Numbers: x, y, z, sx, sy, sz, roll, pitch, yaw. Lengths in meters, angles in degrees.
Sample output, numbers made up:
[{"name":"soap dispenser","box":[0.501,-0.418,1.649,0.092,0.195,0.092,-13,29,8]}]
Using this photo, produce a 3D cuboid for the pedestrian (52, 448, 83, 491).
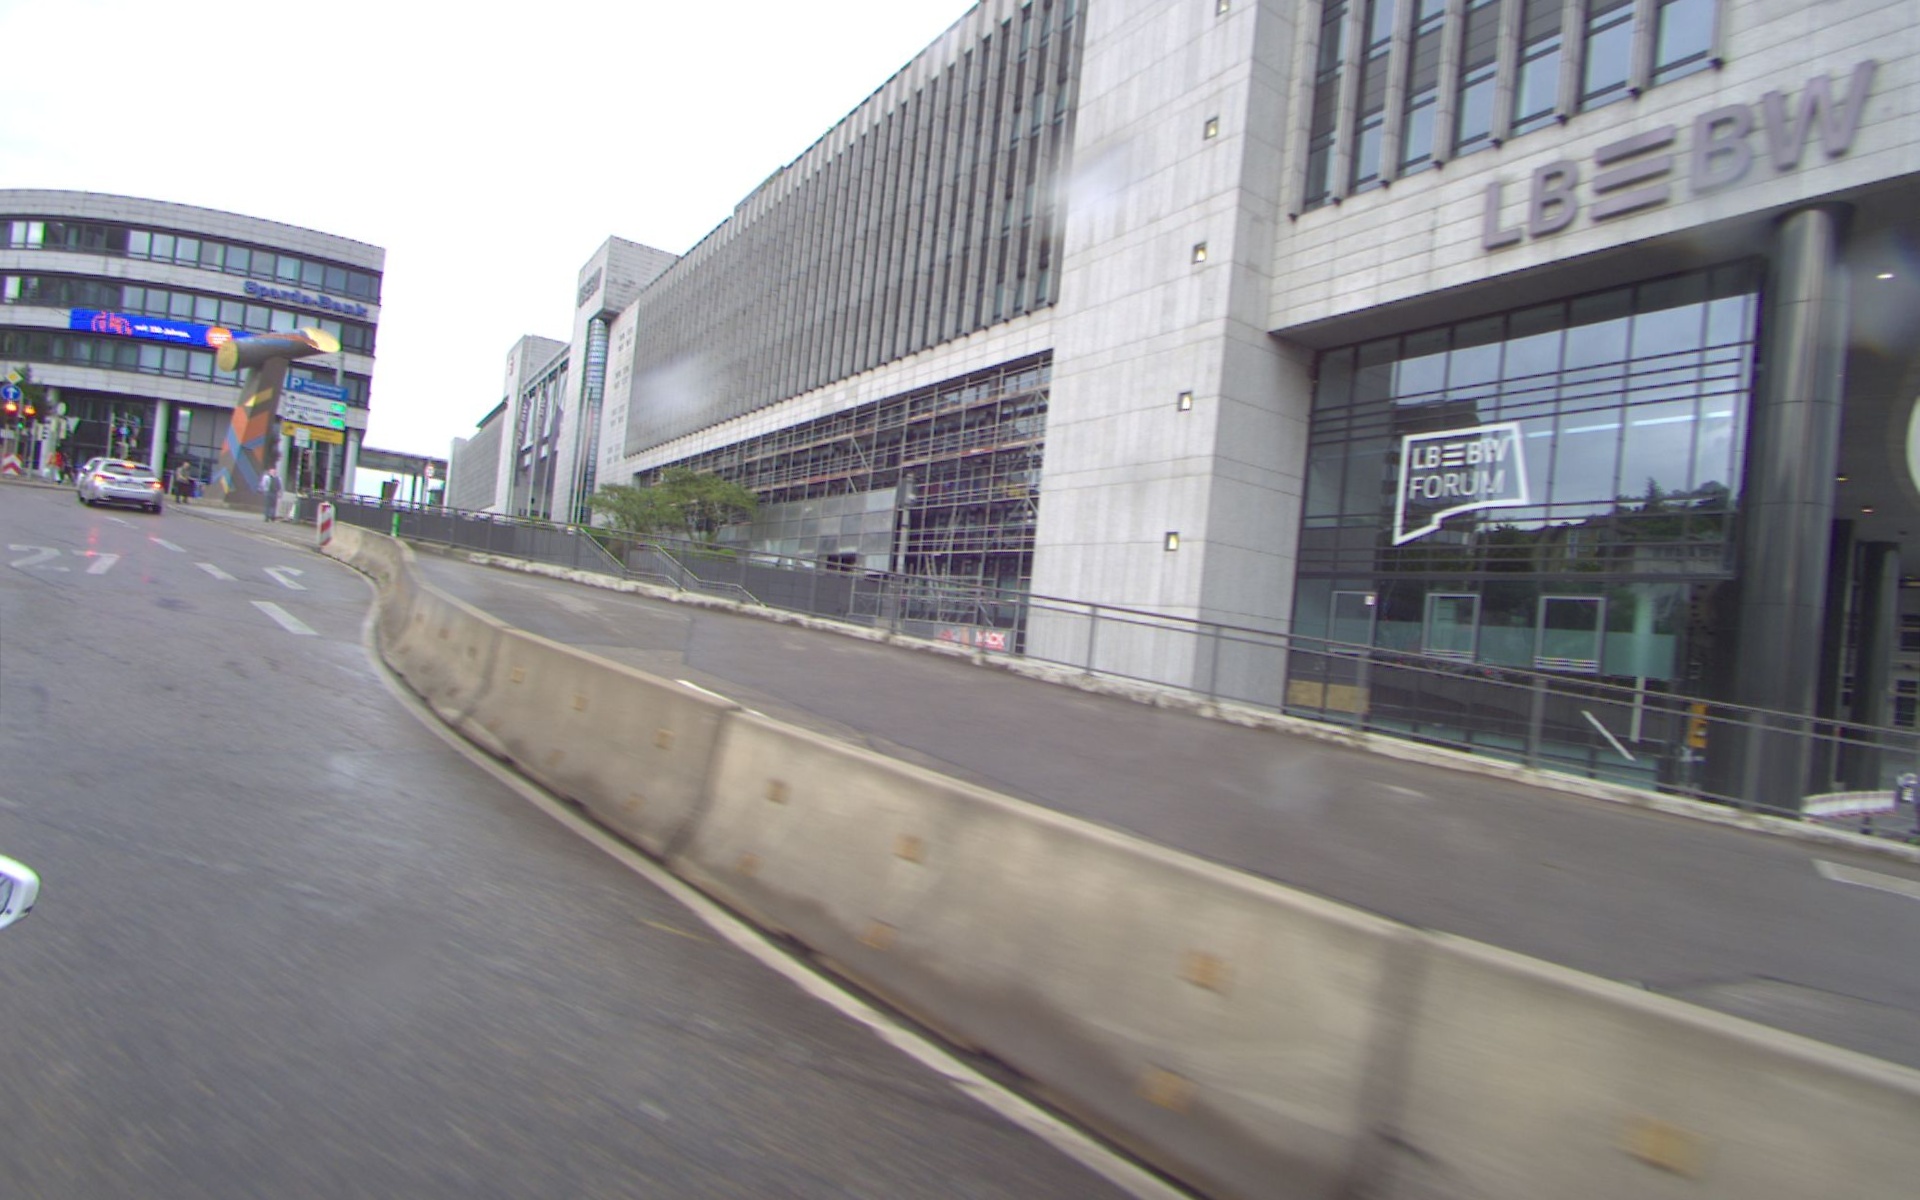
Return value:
[{"name":"pedestrian","box":[-44.122,-6.435,49.740,0.833,1.929,0.727,6,2,-27]}]

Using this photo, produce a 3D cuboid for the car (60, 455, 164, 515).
[{"name":"car","box":[-26.083,-3.553,30.878,4.551,1.469,1.699,7,0,41]}]

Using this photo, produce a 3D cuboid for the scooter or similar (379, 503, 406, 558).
[{"name":"scooter or similar","box":[-12.714,-1.561,22.547,0.347,1.177,0.567,6,1,-38]}]

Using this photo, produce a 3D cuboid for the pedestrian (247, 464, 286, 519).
[{"name":"pedestrian","box":[-23.598,-3.685,34.244,0.830,1.732,0.729,6,0,36]}]

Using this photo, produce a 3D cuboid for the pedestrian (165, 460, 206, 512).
[{"name":"pedestrian","box":[-34.844,-5.120,45.250,0.887,2.123,0.856,9,0,14]}]

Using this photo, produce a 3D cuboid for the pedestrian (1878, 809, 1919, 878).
[{"name":"pedestrian","box":[26.198,6.702,27.646,0.853,1.657,1.008,6,0,-4]}]

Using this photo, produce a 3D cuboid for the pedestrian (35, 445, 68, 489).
[{"name":"pedestrian","box":[-43.831,-6.394,48.535,0.833,1.928,0.855,6,0,-27]}]

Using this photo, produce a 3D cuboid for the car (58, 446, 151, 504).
[{"name":"car","box":[-30.316,-4.380,35.775,1.759,1.655,4.539,7,1,-33]}]
